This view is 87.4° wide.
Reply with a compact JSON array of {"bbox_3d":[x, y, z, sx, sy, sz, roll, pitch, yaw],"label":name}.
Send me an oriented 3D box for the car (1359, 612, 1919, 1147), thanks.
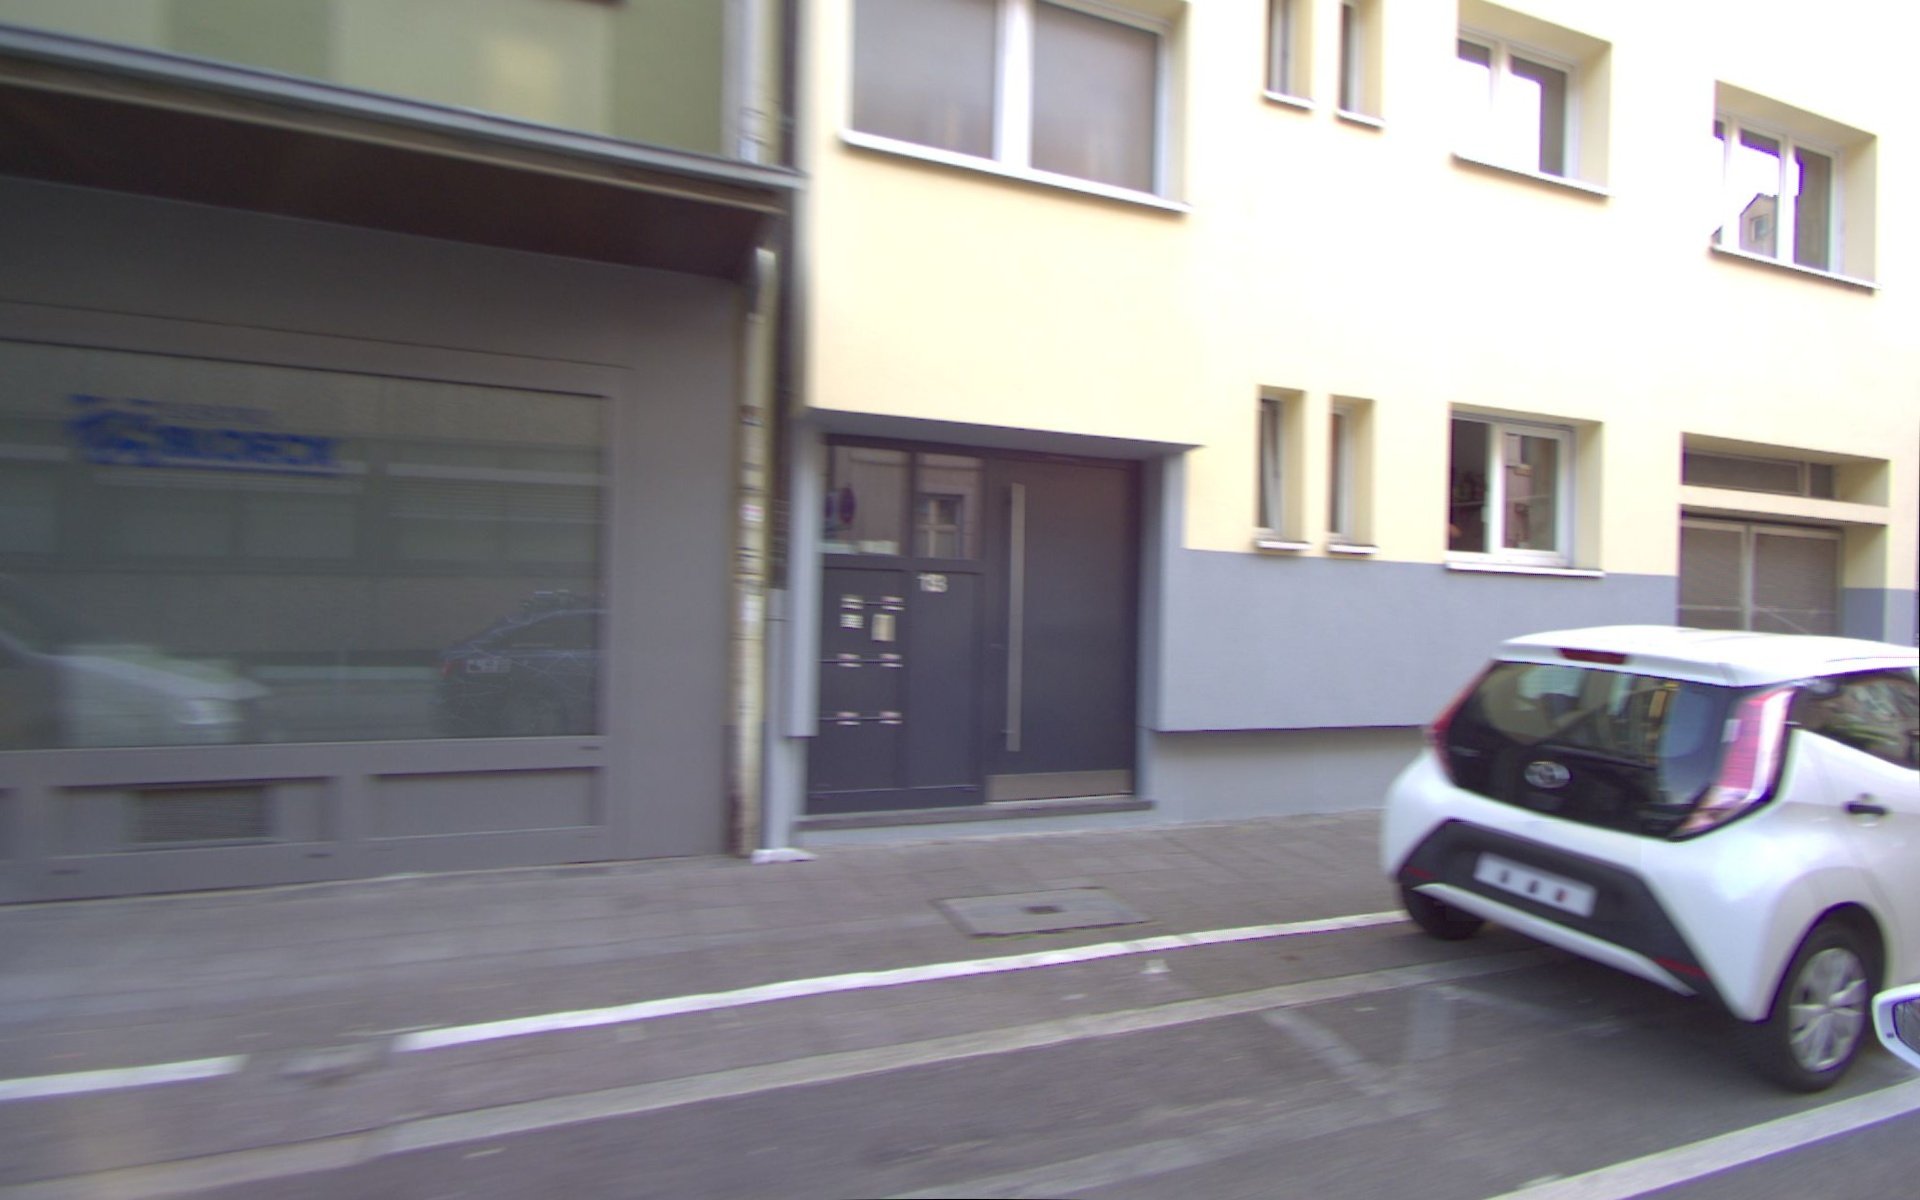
[{"bbox_3d":[3.719,0.880,4.352,3.470,1.468,1.658,2,2,-22],"label":"car"}]
